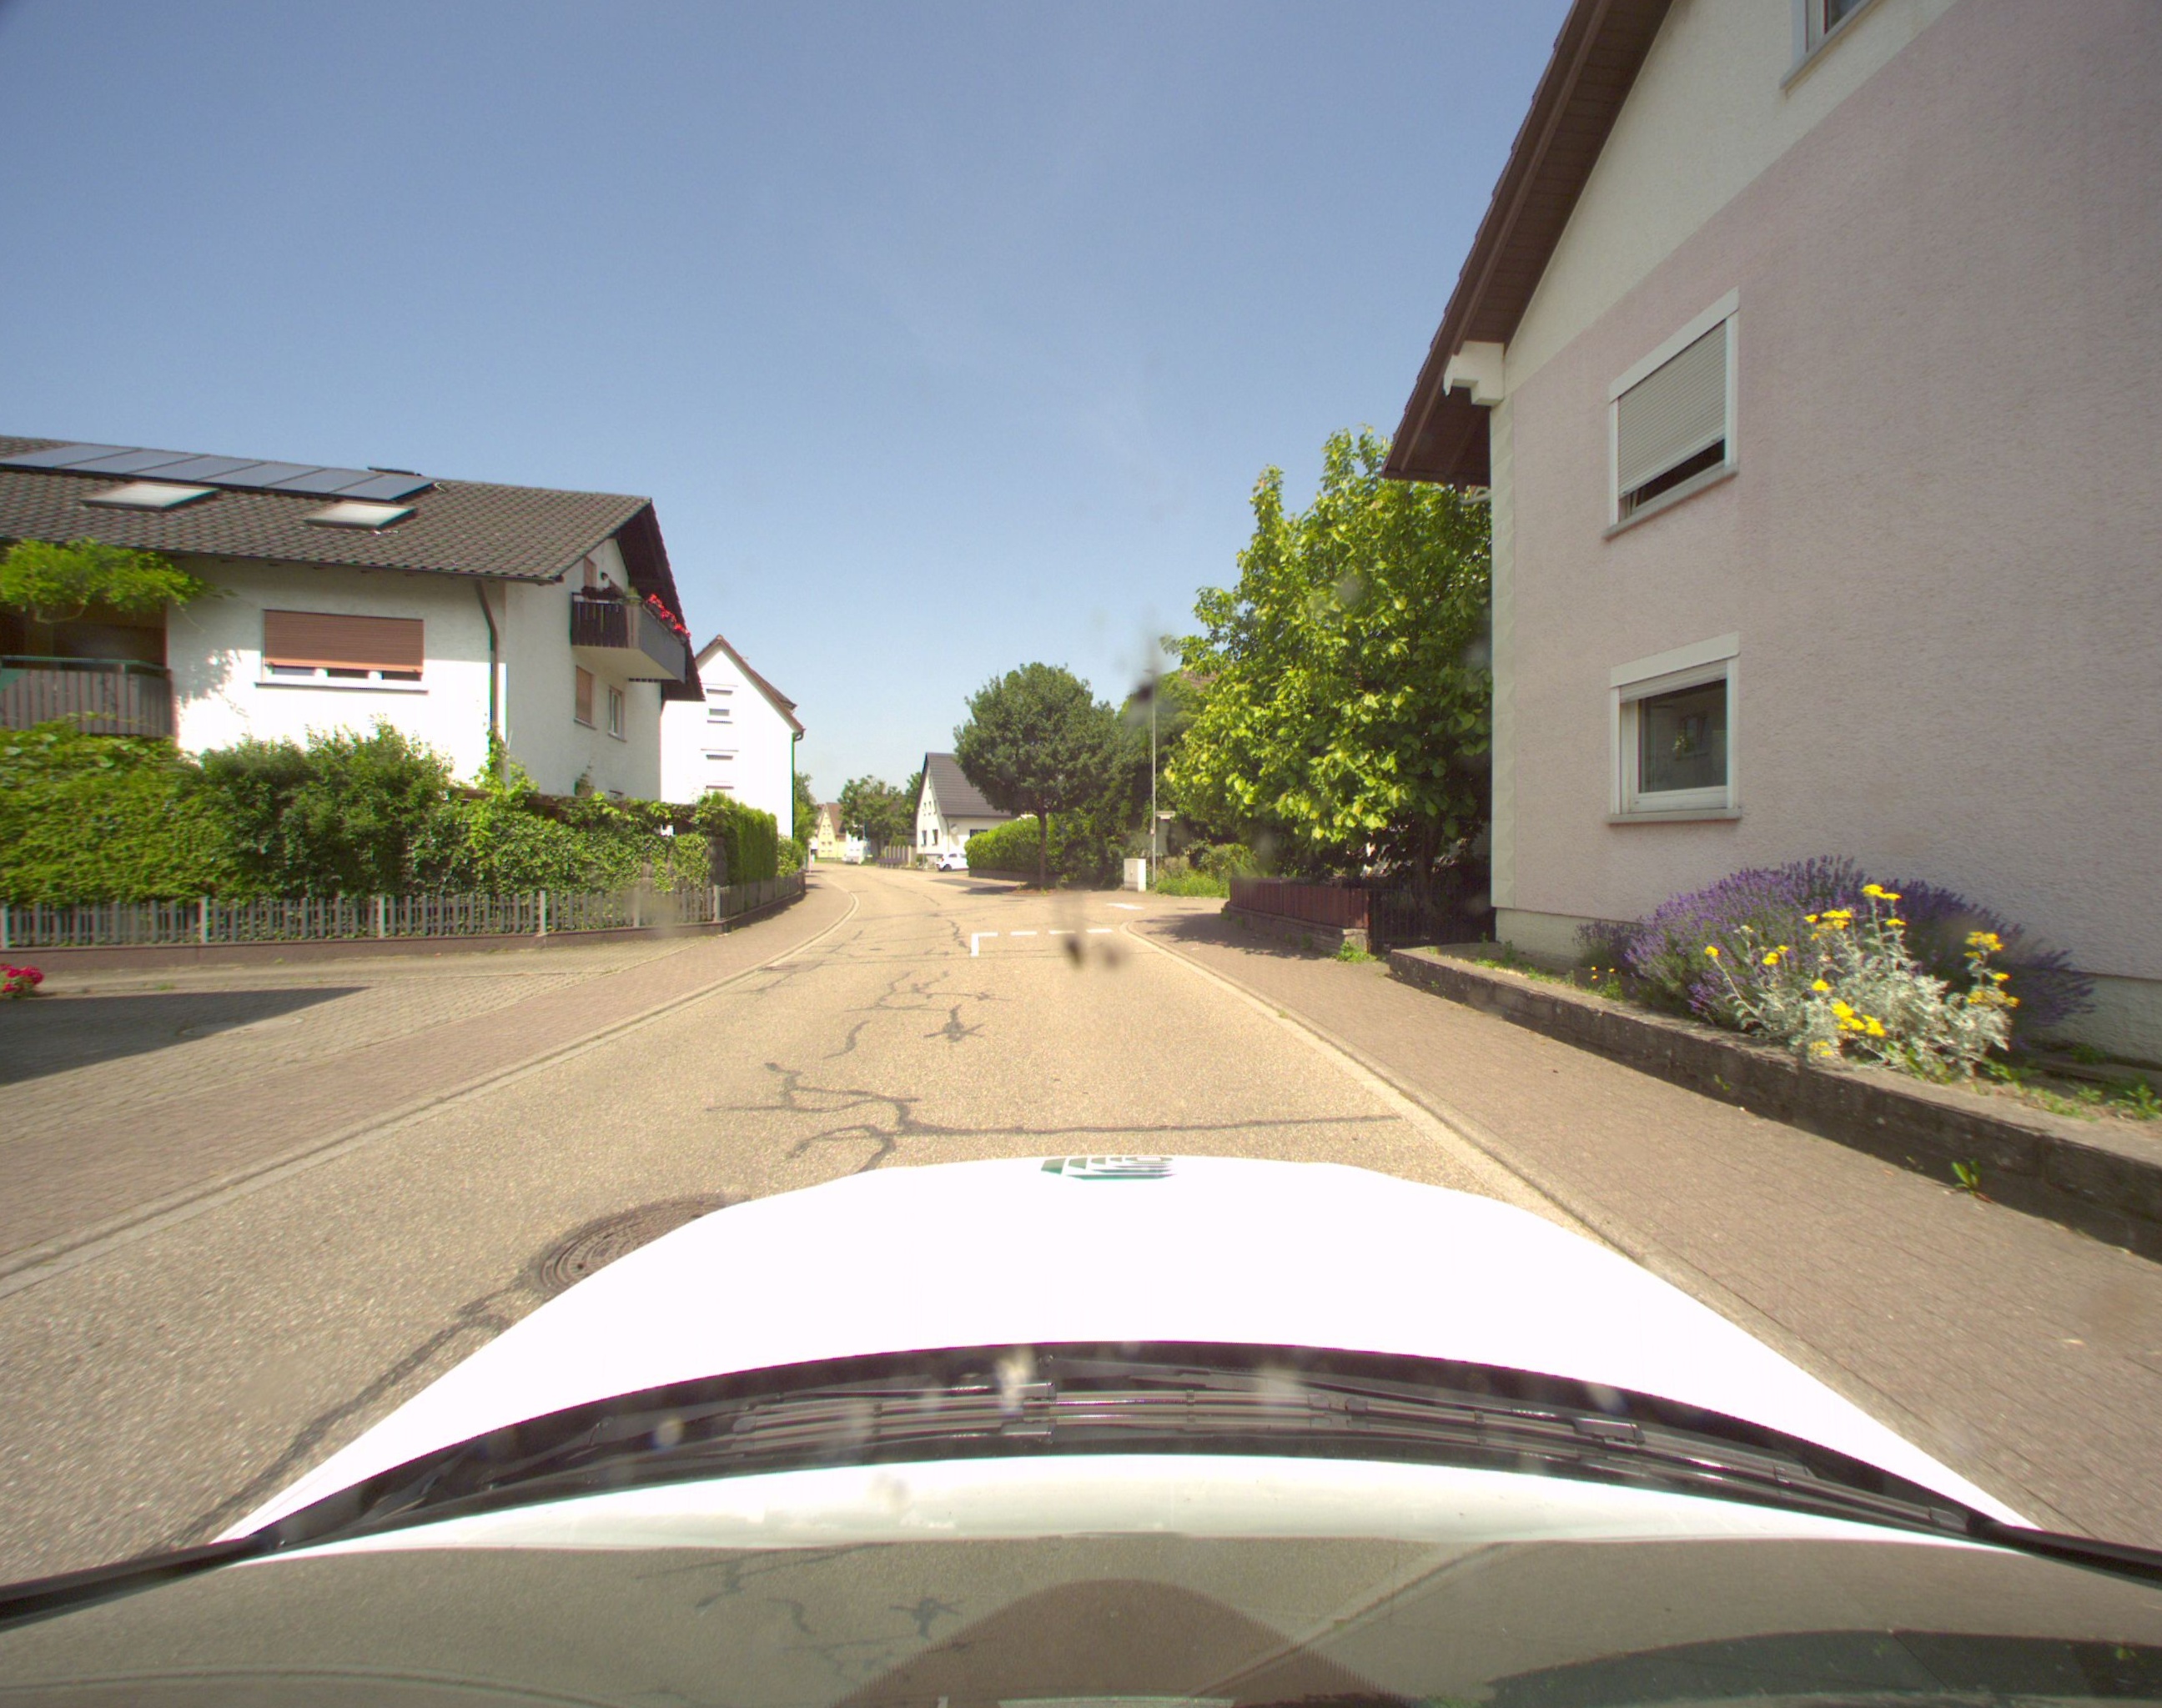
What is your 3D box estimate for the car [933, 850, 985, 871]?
[{"bbox_3d":[-9.476,0.458,63.283,3.678,1.474,1.750,-2,2,-28],"label":"car"}]
